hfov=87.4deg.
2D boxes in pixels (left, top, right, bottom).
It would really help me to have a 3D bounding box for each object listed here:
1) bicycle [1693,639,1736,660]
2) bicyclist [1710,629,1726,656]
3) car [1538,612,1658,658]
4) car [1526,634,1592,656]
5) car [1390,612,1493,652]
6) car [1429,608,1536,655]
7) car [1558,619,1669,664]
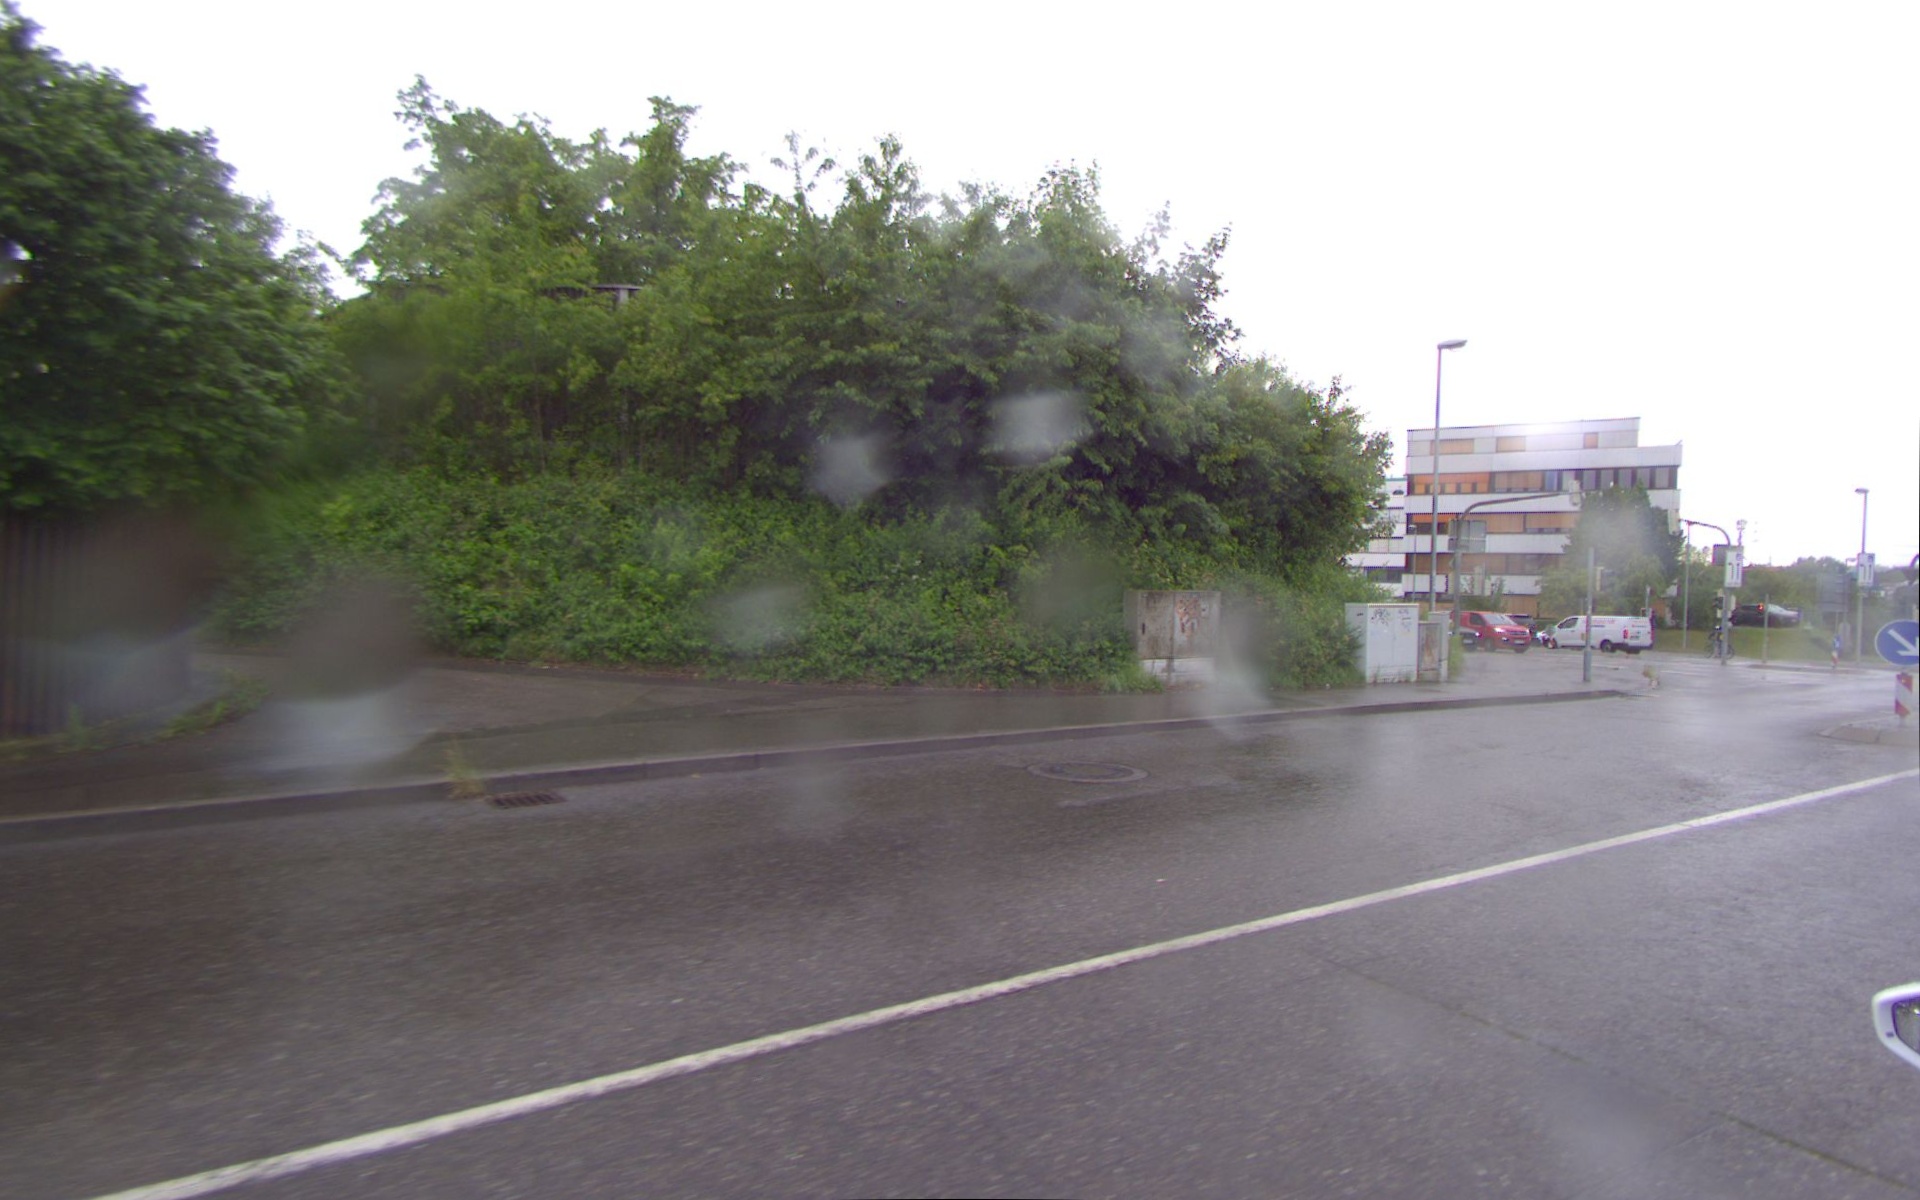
[{"bbox_3d":[41.494,2.728,55.245,0.604,1.066,1.762,2,0,-35],"label":"bicycle"},{"bbox_3d":[41.589,2.325,55.118,0.597,1.465,0.540,2,0,-35],"label":"bicyclist"},{"bbox_3d":[32.385,1.722,51.150,1.969,2.040,4.991,2,0,-18],"label":"car"},{"bbox_3d":[37.667,2.809,63.215,3.457,1.120,1.815,2,0,34],"label":"car"},{"bbox_3d":[22.249,1.435,46.630,1.997,1.701,4.625,2,-1,-9],"label":"car"},{"bbox_3d":[24.836,1.450,47.962,1.965,2.040,4.776,2,0,-12],"label":"car"},{"bbox_3d":[30.551,1.894,47.108,1.966,1.865,4.144,2,0,-13],"label":"car"}]
